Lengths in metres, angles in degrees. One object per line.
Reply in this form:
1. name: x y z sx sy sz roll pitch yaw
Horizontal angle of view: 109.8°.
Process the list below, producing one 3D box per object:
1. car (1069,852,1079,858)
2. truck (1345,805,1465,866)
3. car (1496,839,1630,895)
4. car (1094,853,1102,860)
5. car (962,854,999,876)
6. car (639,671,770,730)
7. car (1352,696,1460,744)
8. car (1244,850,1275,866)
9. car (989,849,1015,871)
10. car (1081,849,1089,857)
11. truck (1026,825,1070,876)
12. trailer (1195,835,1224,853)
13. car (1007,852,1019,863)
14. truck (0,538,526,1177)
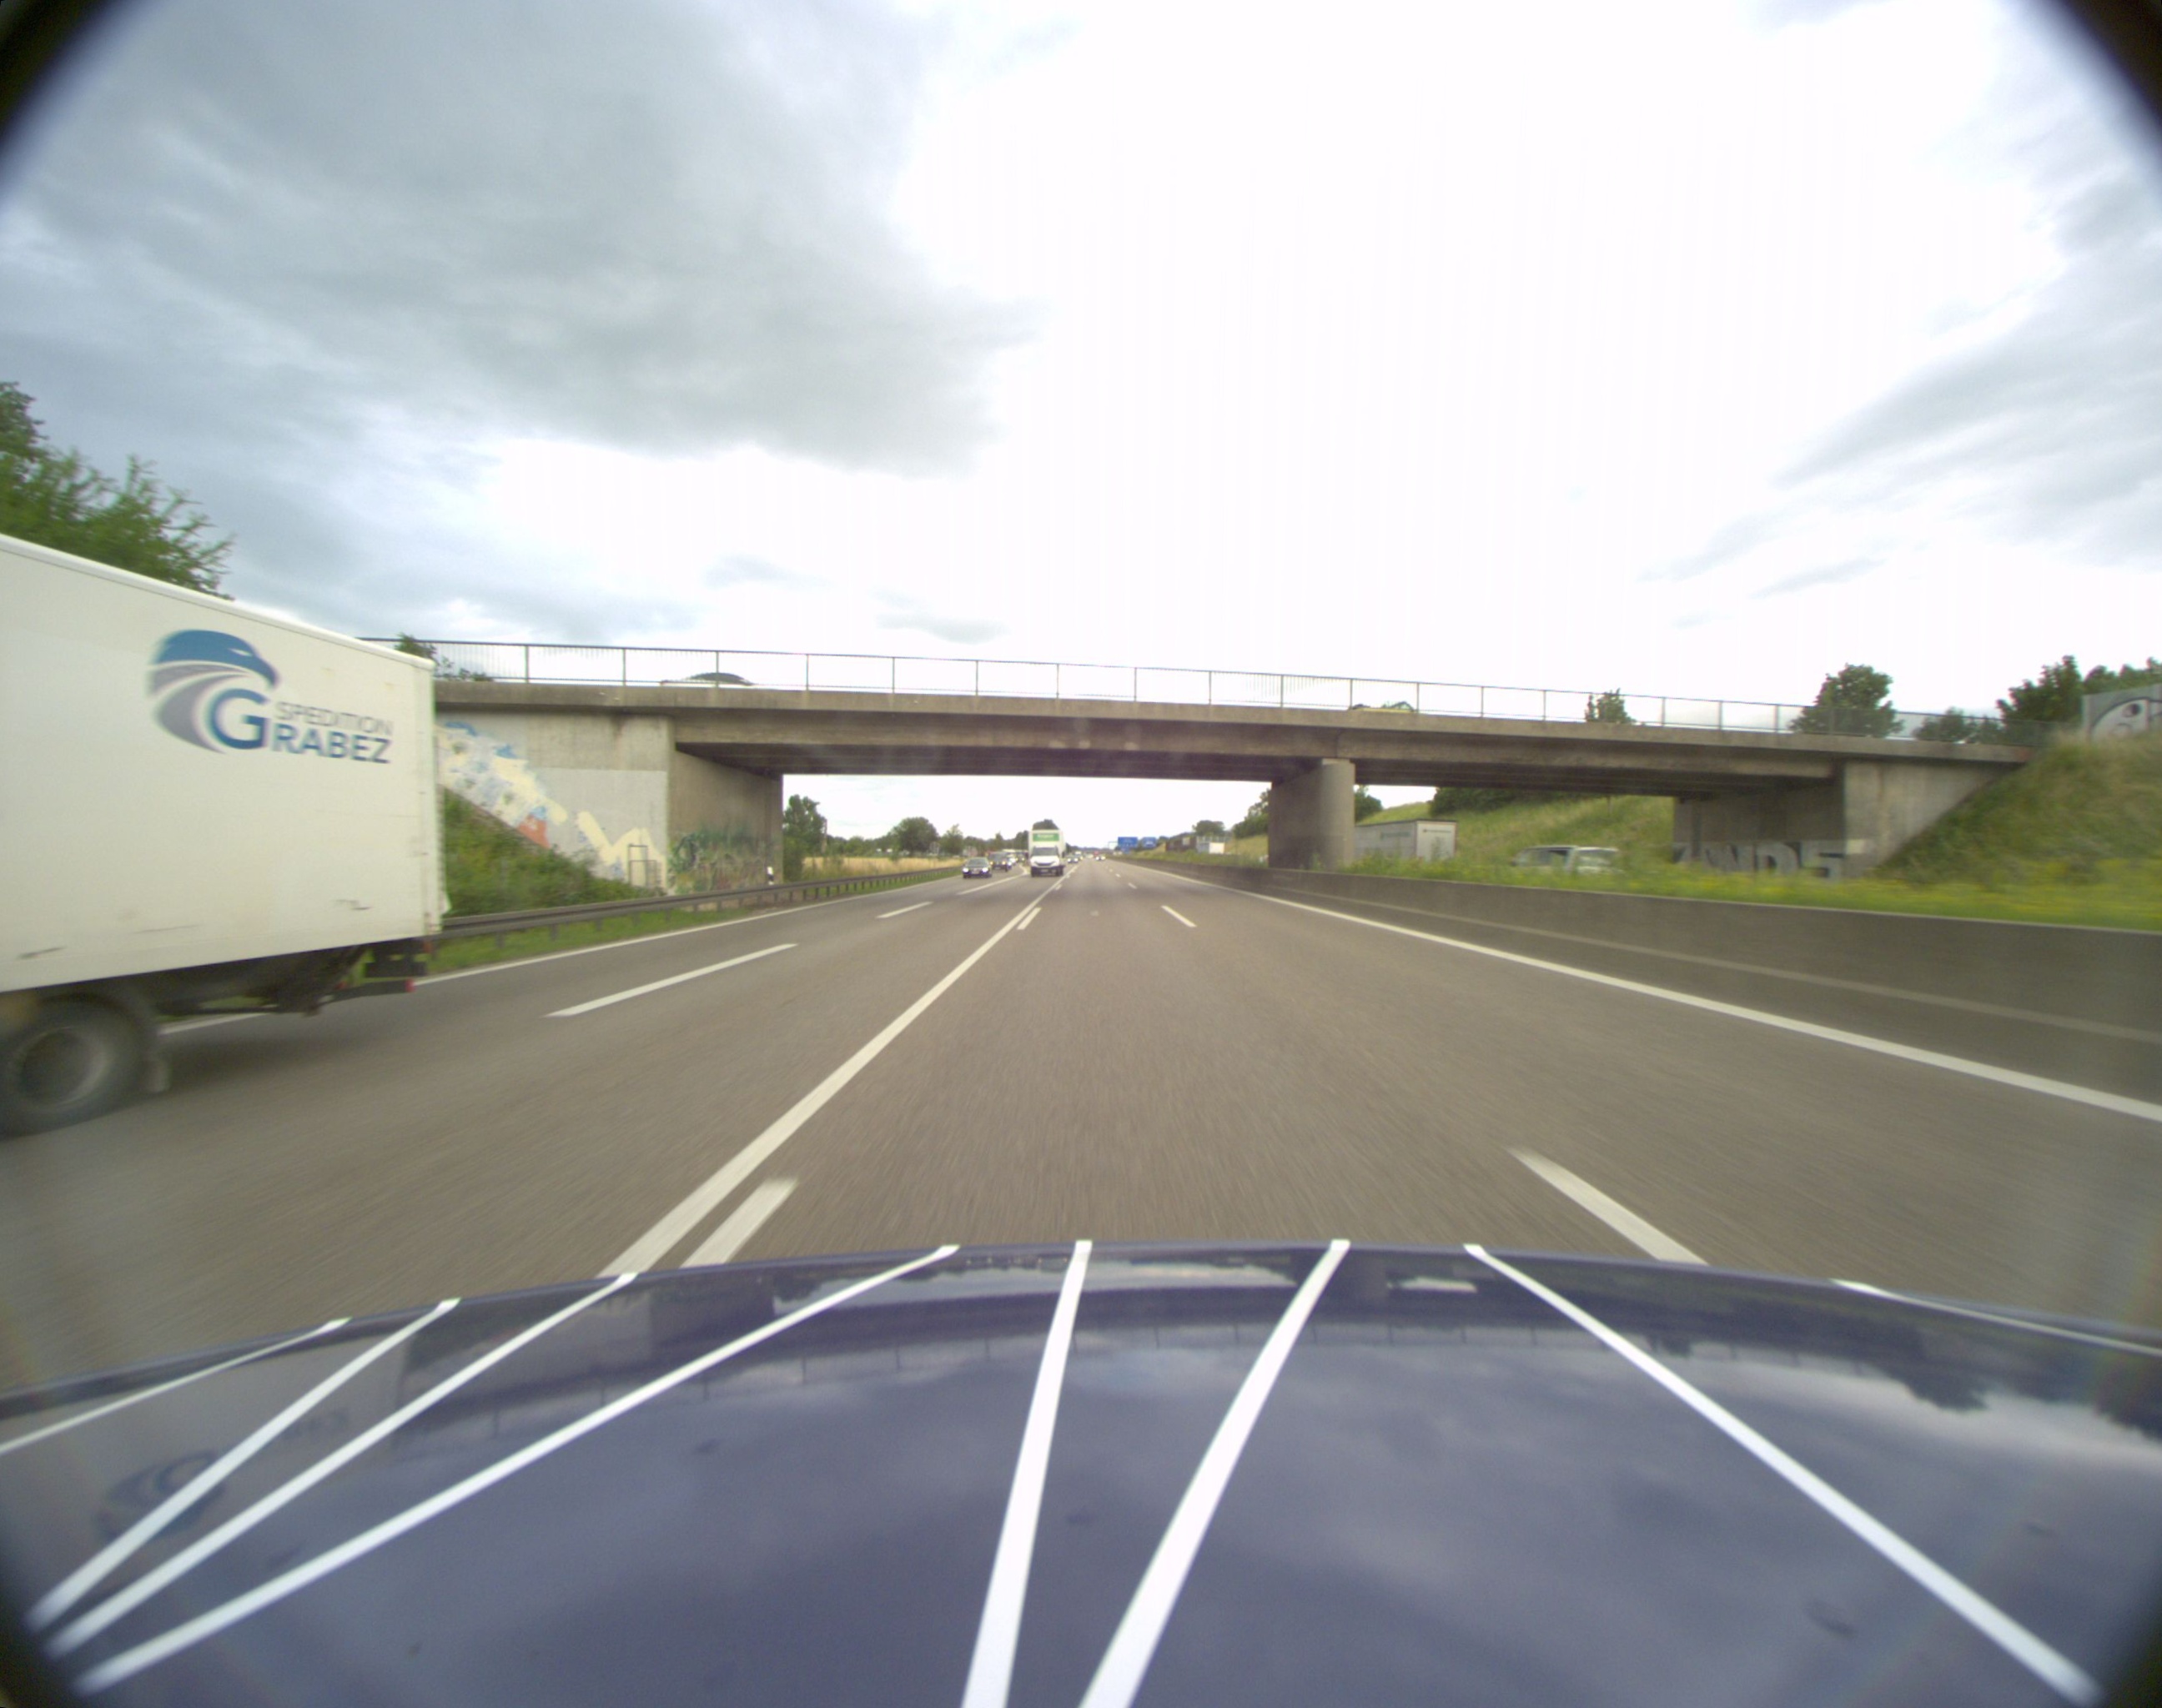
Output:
1. car: -1.348 0.238 144.105 1.781 1.180 4.000 0 0 1
2. truck: 22.126 -1.176 53.065 3.005 3.662 13.007 -1 1 1
3. car: 17.061 0.439 27.241 1.731 1.818 4.720 0 0 -1
4. car: 4.371 0.621 197.439 1.998 2.002 4.000 0 0 1
5. car: -7.263 0.782 55.304 1.922 1.541 4.924 0 0 1
6. car: -11.732 -4.784 23.900 3.341 1.439 1.659 -1 1 -12
7. car: 12.136 -4.993 28.471 3.341 1.439 1.659 -1 1 -10
8. car: 17.117 0.354 73.263 1.731 1.476 4.923 0 0 -1
9. car: -7.881 0.603 75.958 2.149 2.051 4.957 -1 0 -2
10. car: 0.971 -0.236 200.725 1.998 2.002 4.000 0 0 1
11. truck: -2.343 -0.219 57.371 2.777 3.484 9.062 -1 0 1
12. trailer: 22.680 -1.698 134.459 2.928 2.938 13.970 -2 0 1
13. car: -11.798 0.615 131.553 1.833 1.746 5.064 0 0 -2
14. truck: -7.384 0.060 3.445 3.112 3.450 8.889 -2 0 0
